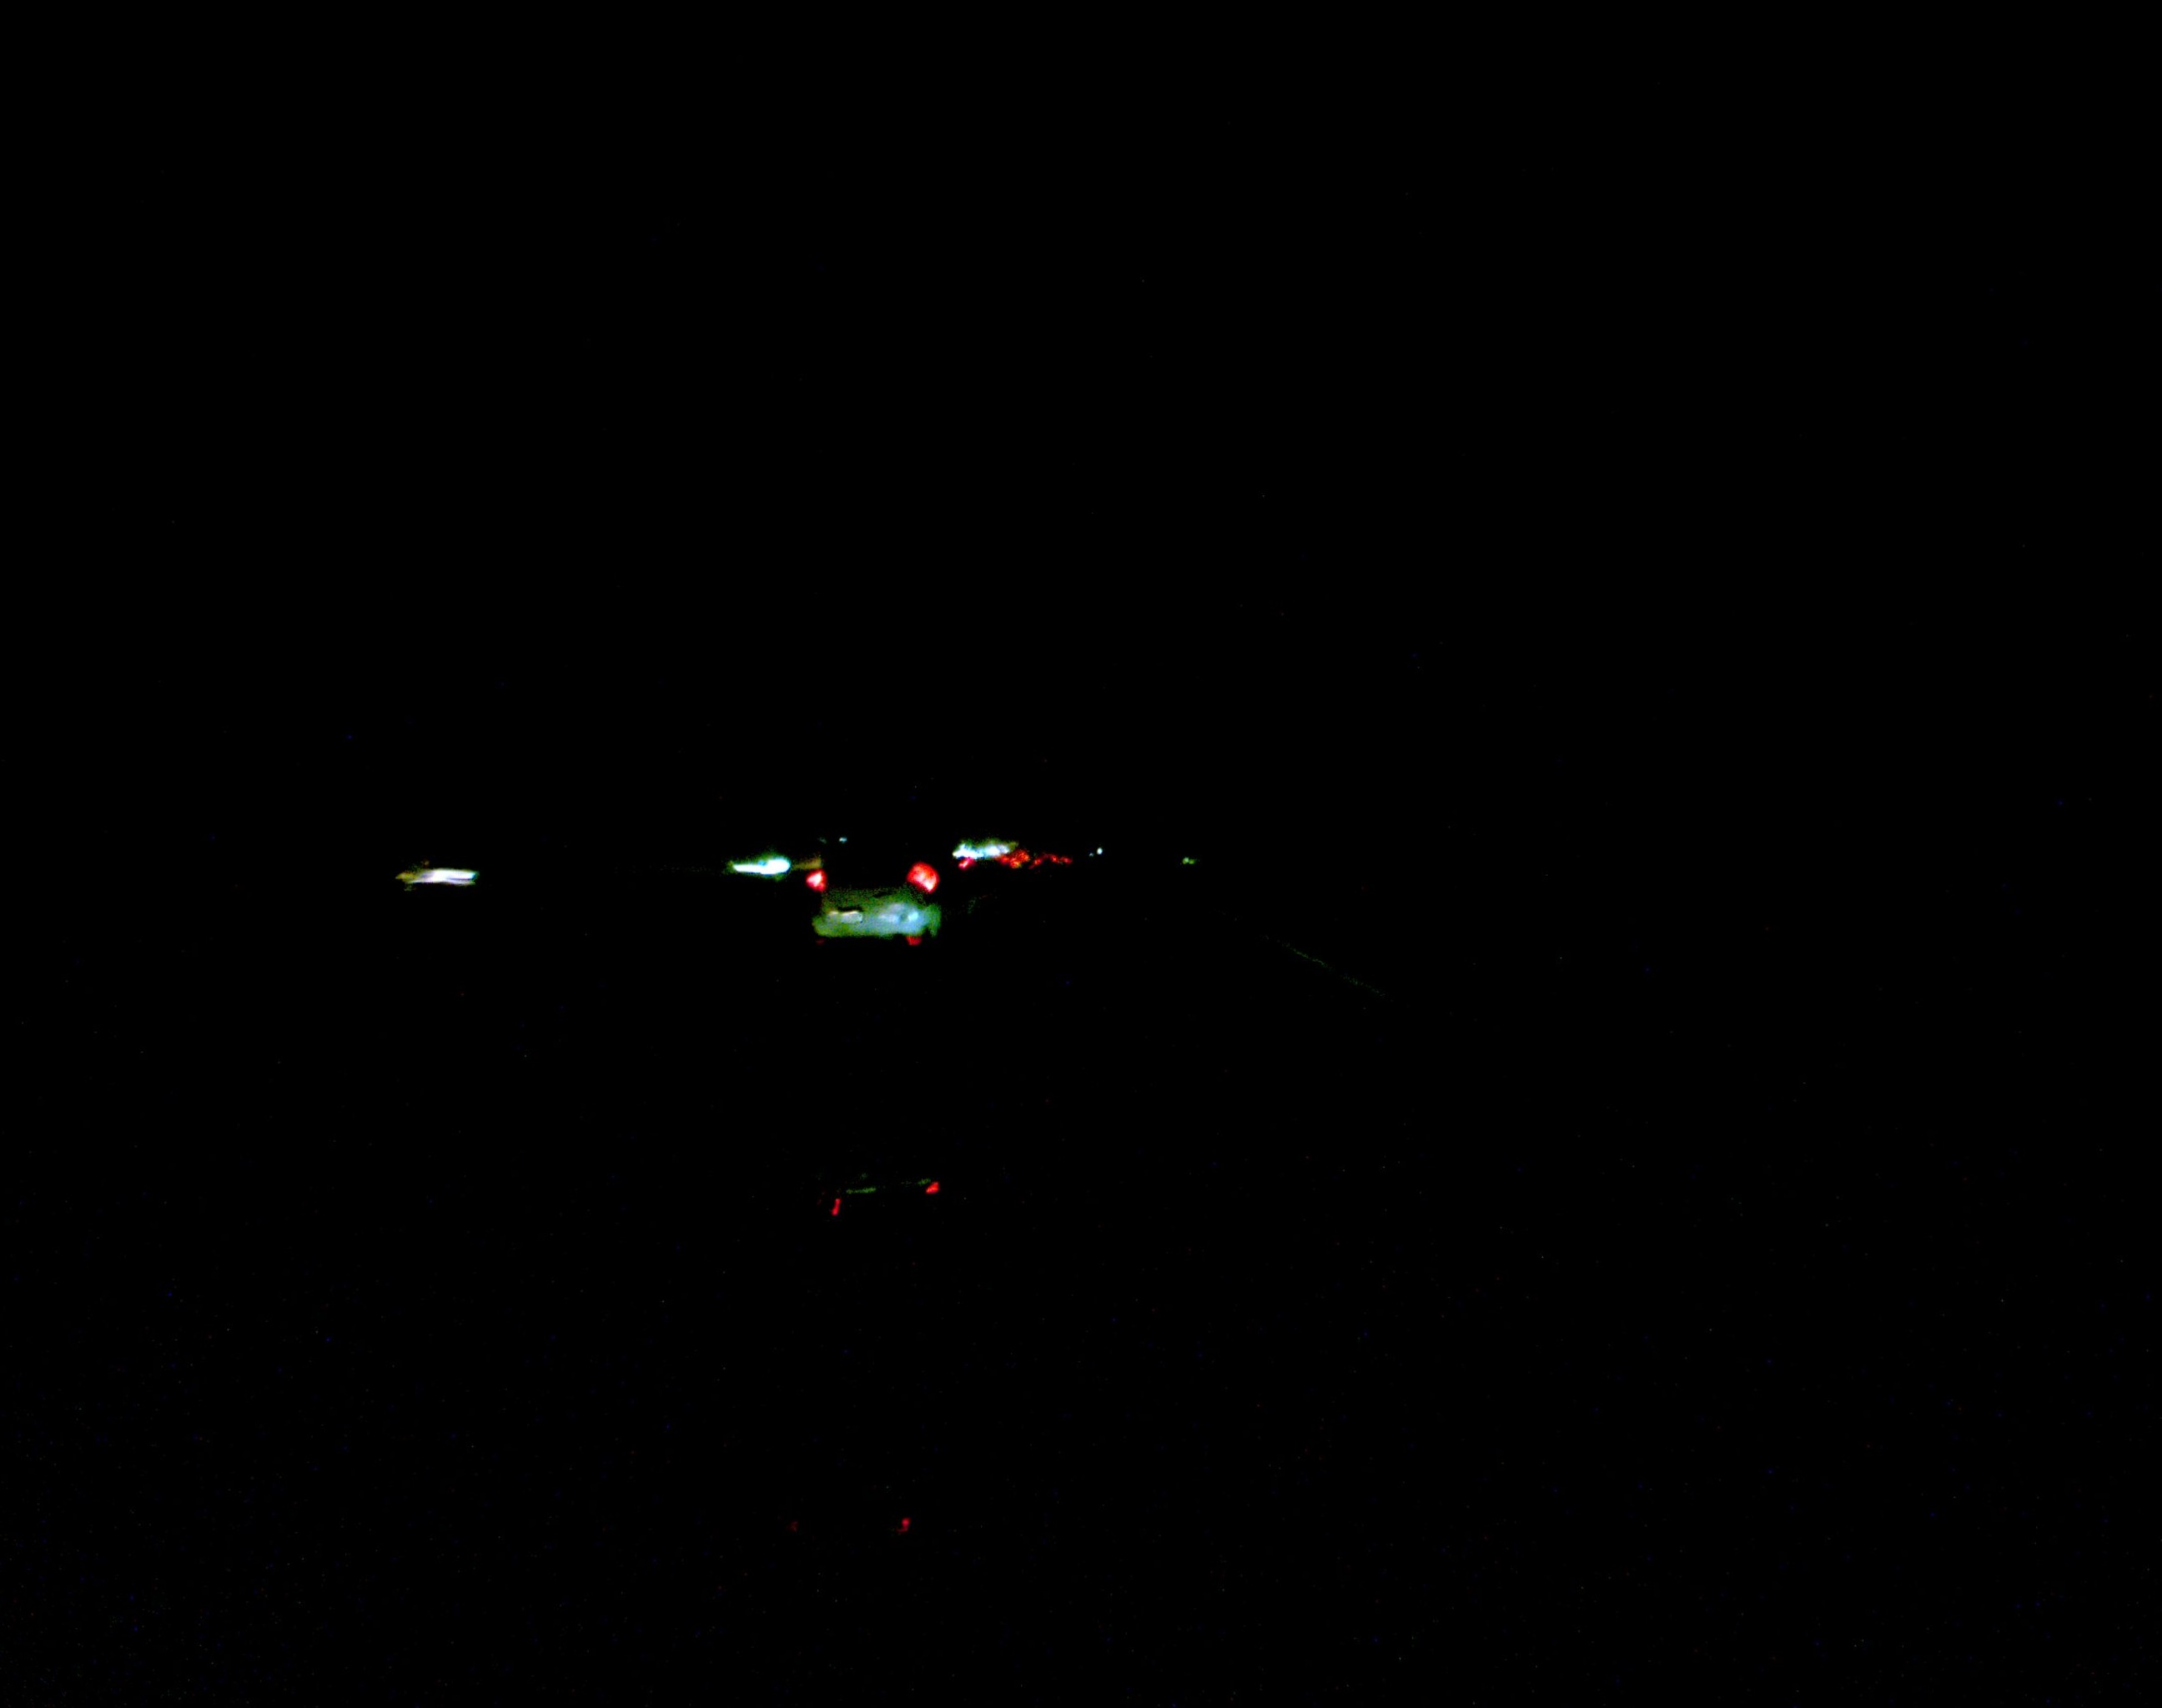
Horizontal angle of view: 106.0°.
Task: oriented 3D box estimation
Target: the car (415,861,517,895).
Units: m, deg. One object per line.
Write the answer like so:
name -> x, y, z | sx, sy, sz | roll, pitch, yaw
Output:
car -> -29.216, 1.113, 38.822 | 1.770, 1.471, 3.984 | 2, 0, 0

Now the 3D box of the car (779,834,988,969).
car -> -2.910, 0.644, 13.350 | 1.945, 1.792, 5.127 | 0, 0, 3

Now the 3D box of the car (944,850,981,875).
car -> -8.387, 0.600, 57.911 | 1.987, 1.707, 4.196 | 0, 0, 1

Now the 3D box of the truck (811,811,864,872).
truck -> -26.409, -1.306, 88.587 | 3.451, 6.128, 6.171 | 3, 0, 0

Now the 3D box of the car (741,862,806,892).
car -> -18.177, 1.329, 48.388 | 1.987, 1.596, 4.673 | 2, 0, 0

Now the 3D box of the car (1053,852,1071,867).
car -> -2.315, 0.618, 97.426 | 1.990, 1.707, 4.188 | 0, 0, -5

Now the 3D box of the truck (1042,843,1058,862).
truck -> -8.144, -0.306, 214.724 | 3.817, 4.915, 11.587 | 0, 0, -4

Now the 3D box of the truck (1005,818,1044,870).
truck -> -6.486, -1.014, 93.054 | 4.160, 5.544, 13.053 | 0, 0, -4
